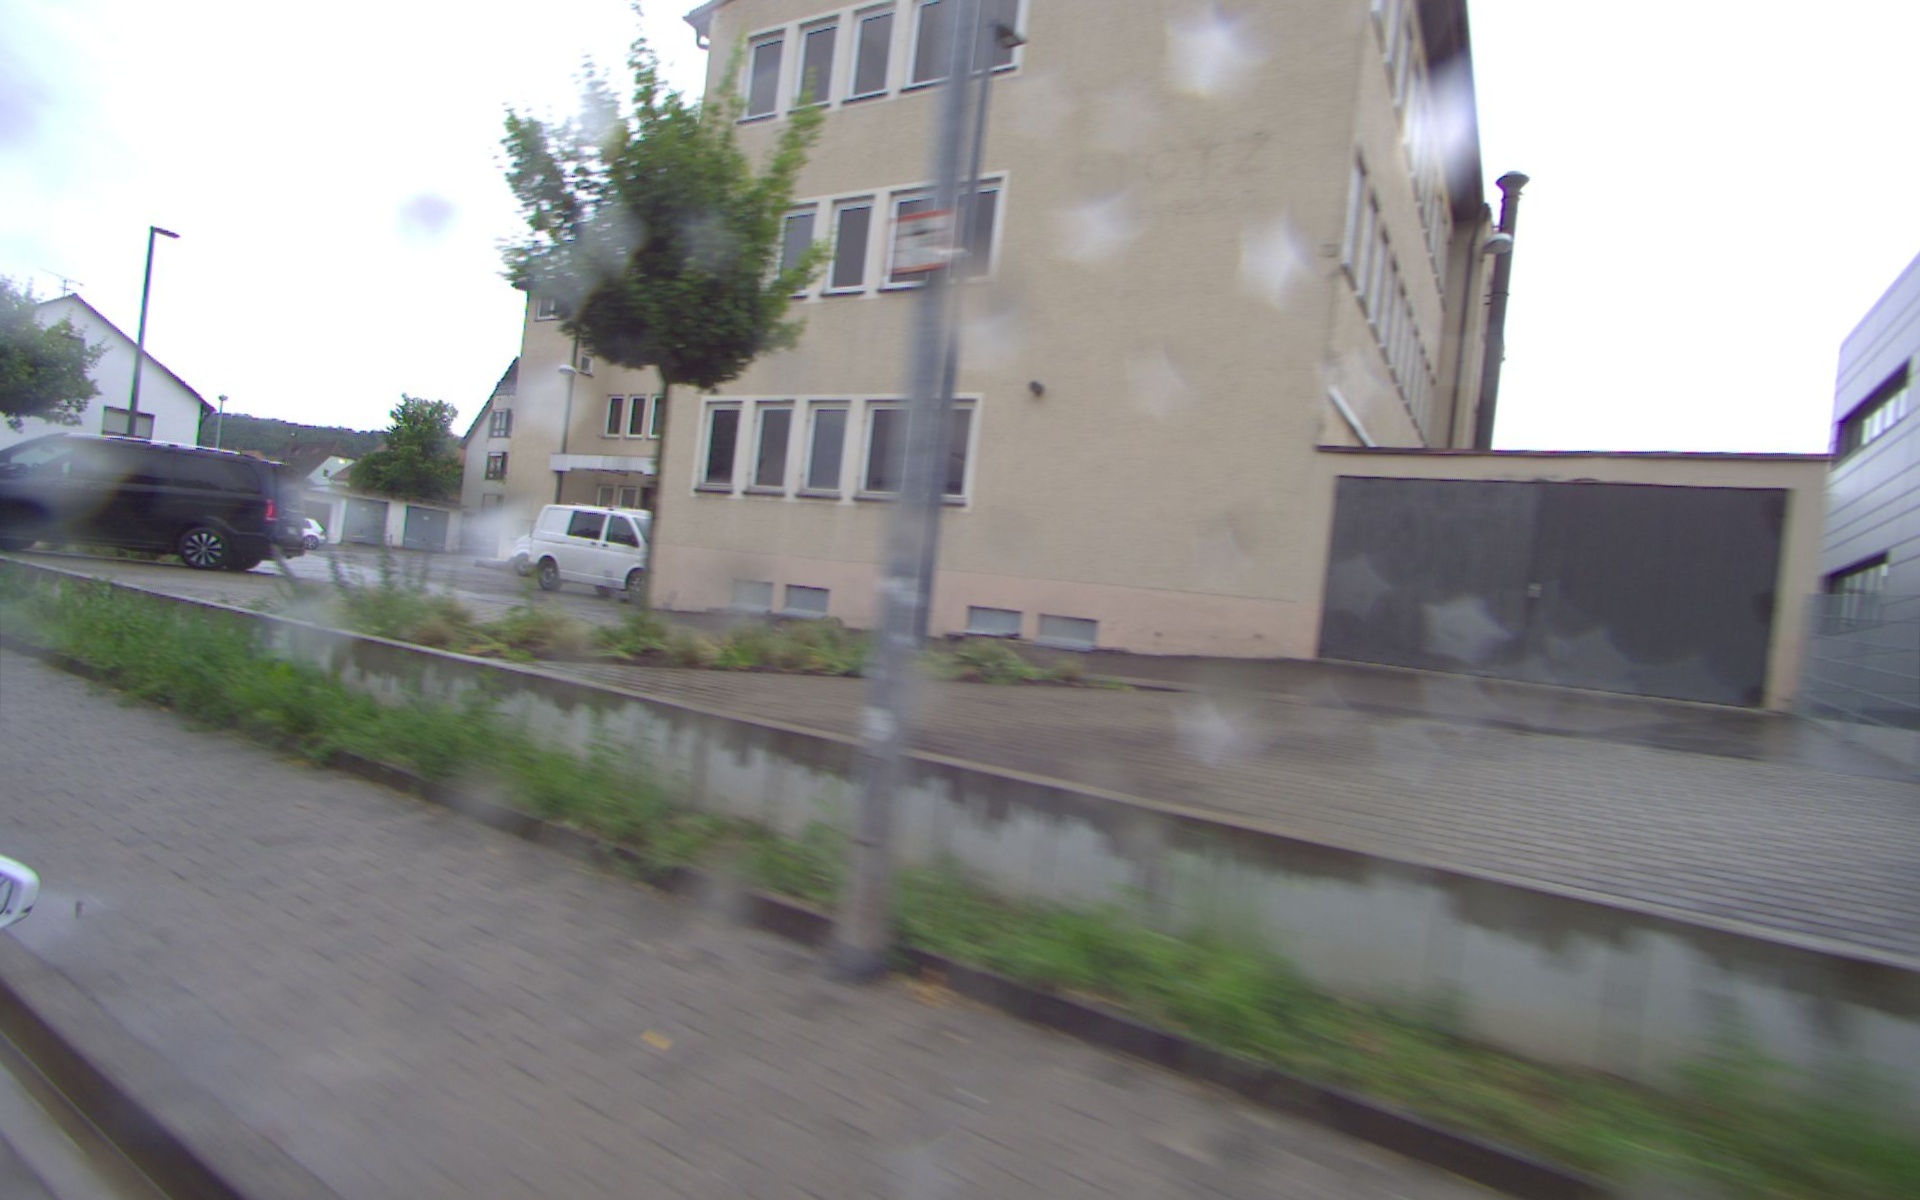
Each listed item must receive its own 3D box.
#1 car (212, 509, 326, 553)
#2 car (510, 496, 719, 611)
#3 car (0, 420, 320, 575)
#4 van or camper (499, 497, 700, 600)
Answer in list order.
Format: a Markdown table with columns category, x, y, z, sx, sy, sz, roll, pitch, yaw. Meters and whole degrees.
| category | x | y | z | sx | sy | sz | roll | pitch | yaw |
| --- | --- | --- | --- | --- | --- | --- | --- | --- | --- |
| car | -30.471 | -3.028 | 44.447 | 1.584 | 1.473 | 3.765 | 6 | 0 | 37 |
| car | -7.930 | -1.071 | 22.978 | 4.522 | 2.039 | 1.796 | 8 | 1 | 29 |
| car | -13.582 | -1.617 | 16.240 | 5.042 | 1.944 | 2.044 | 5 | 0 | -21 |
| van or camper | -12.179 | -1.745 | 33.906 | 6.483 | 2.566 | 2.000 | 8 | -1 | 22 |
